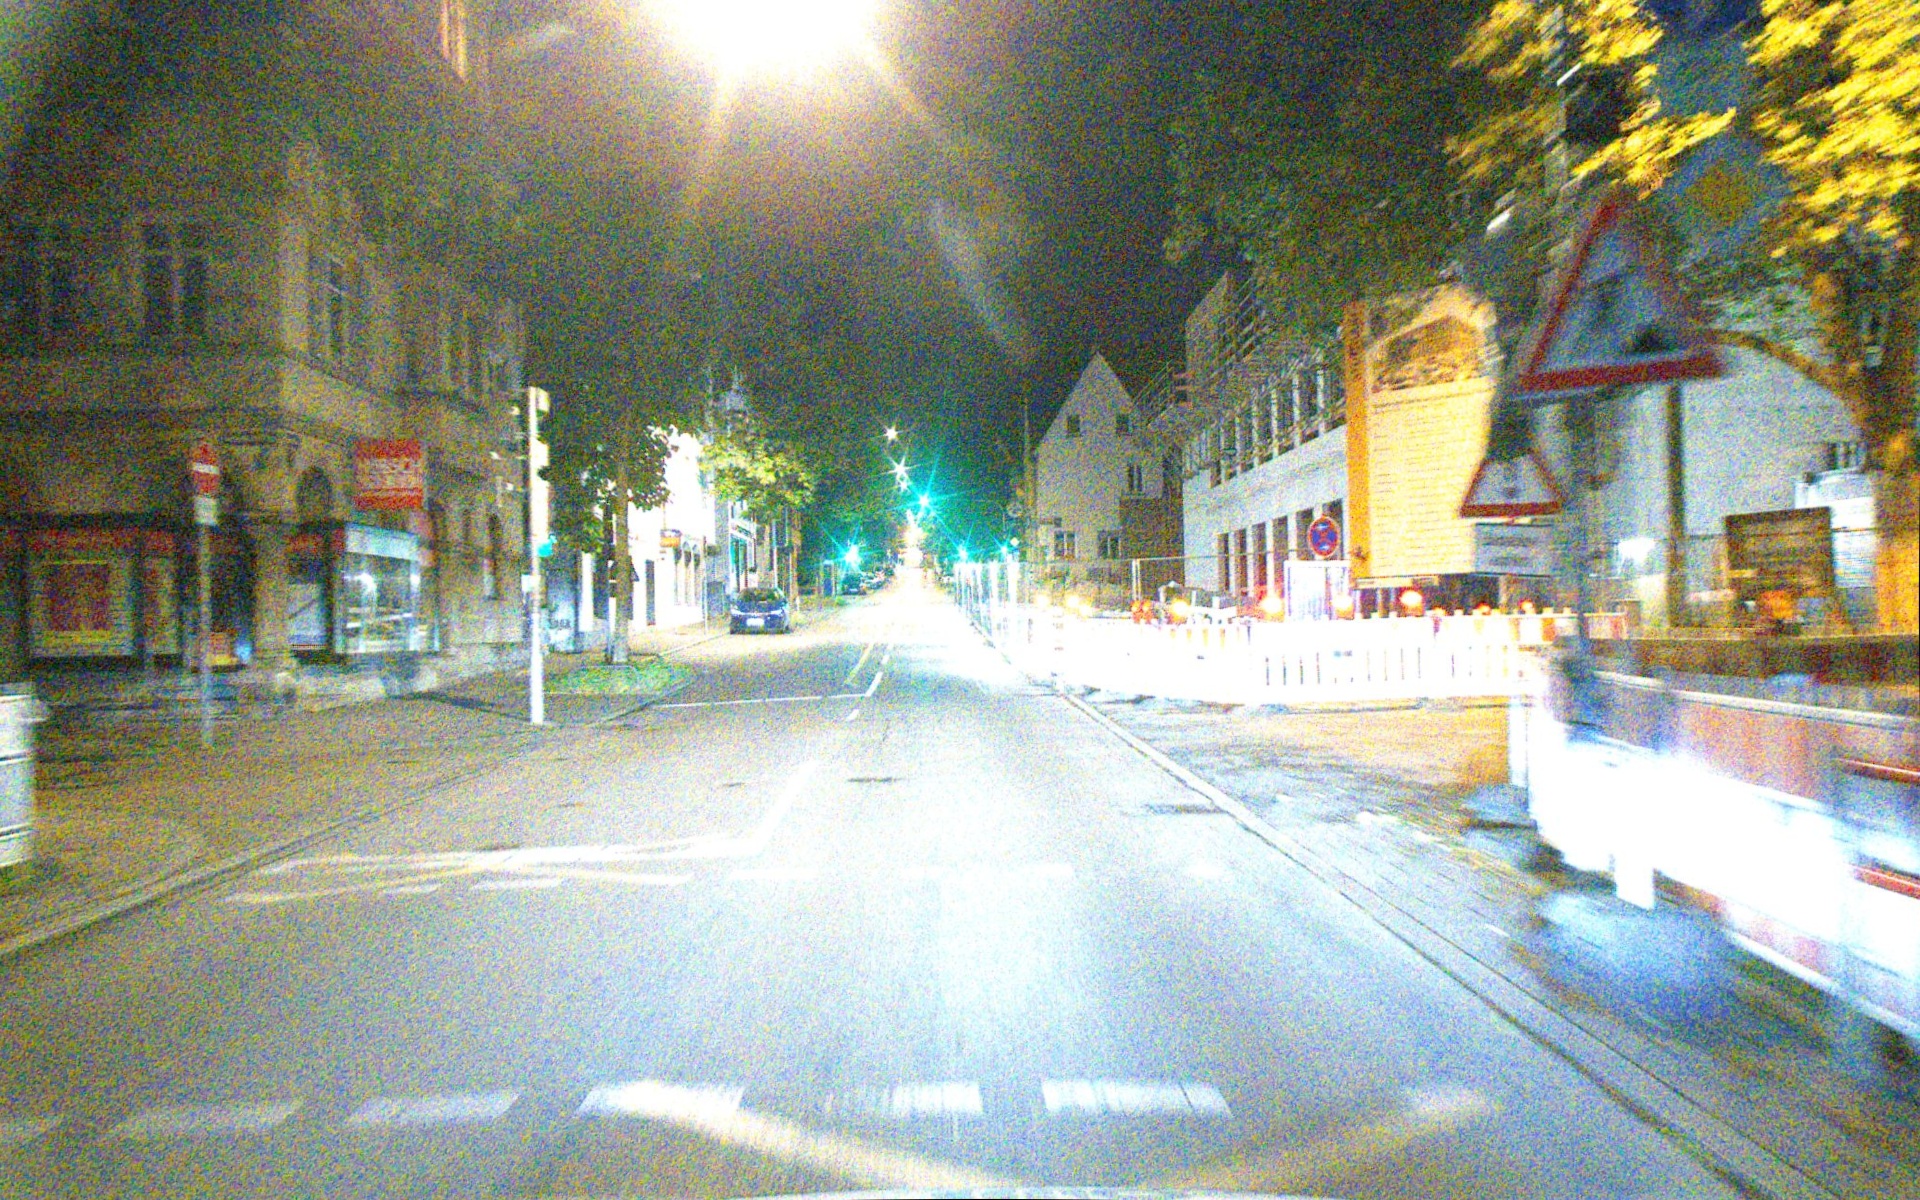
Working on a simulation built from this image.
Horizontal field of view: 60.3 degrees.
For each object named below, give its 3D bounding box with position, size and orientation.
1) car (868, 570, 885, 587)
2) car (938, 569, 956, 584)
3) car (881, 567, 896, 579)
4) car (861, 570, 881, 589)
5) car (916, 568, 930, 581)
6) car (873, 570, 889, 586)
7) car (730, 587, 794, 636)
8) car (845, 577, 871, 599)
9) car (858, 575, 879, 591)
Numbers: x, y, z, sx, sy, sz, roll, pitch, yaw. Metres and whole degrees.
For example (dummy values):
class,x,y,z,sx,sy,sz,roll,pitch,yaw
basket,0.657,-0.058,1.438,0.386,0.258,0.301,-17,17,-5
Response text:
class,x,y,z,sx,sy,sz,roll,pitch,yaw
car,-9.435,-2.441,187.387,1.835,1.846,4.204,-1,1,-2
car,-1.416,-2.503,176.337,1.835,1.571,4.204,-1,1,-2
car,-10.951,-4.133,253.528,2.035,1.846,4.204,-1,1,-1
car,-9.075,-2.070,169.095,1.835,1.846,4.204,-1,1,-2
car,-5.315,-3.631,237.405,1.835,1.846,4.204,-1,1,0
car,-9.822,-2.738,205.333,1.835,1.846,4.204,-1,1,0
car,-6.378,0.342,53.702,1.637,1.468,4.204,-1,1,-2
car,-7.718,-0.916,125.537,1.835,1.571,4.204,-1,1,-2
car,-8.997,-1.704,163.044,1.835,1.571,4.204,-1,1,-2
